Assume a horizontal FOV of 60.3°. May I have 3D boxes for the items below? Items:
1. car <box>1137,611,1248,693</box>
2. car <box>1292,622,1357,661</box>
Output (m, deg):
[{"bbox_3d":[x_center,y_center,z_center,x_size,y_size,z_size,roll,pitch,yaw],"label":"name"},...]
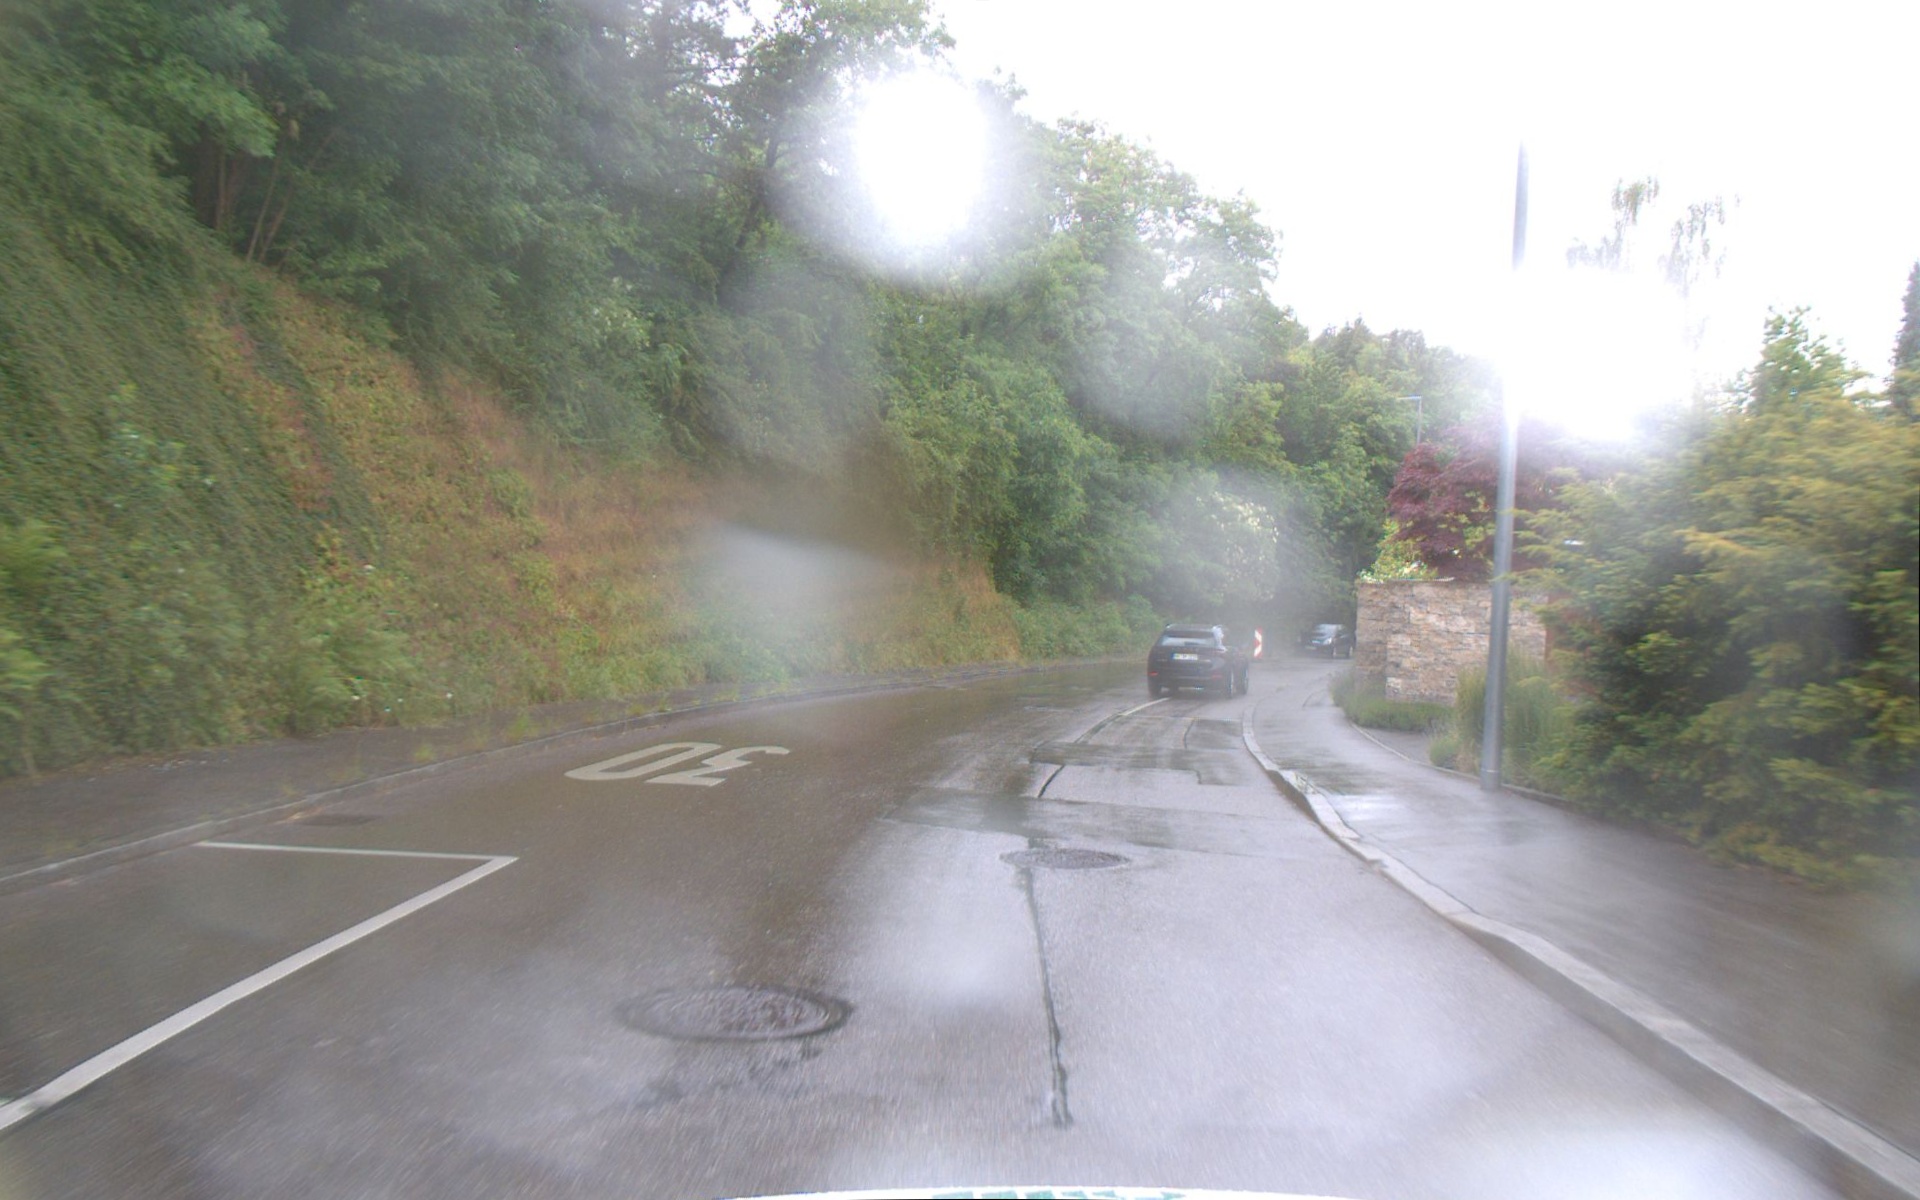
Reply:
[{"bbox_3d":[4.943,1.043,34.747,1.829,1.539,4.095,2,0,14],"label":"car"},{"bbox_3d":[15.419,1.735,69.826,1.667,1.496,3.995,4,1,27],"label":"car"}]
